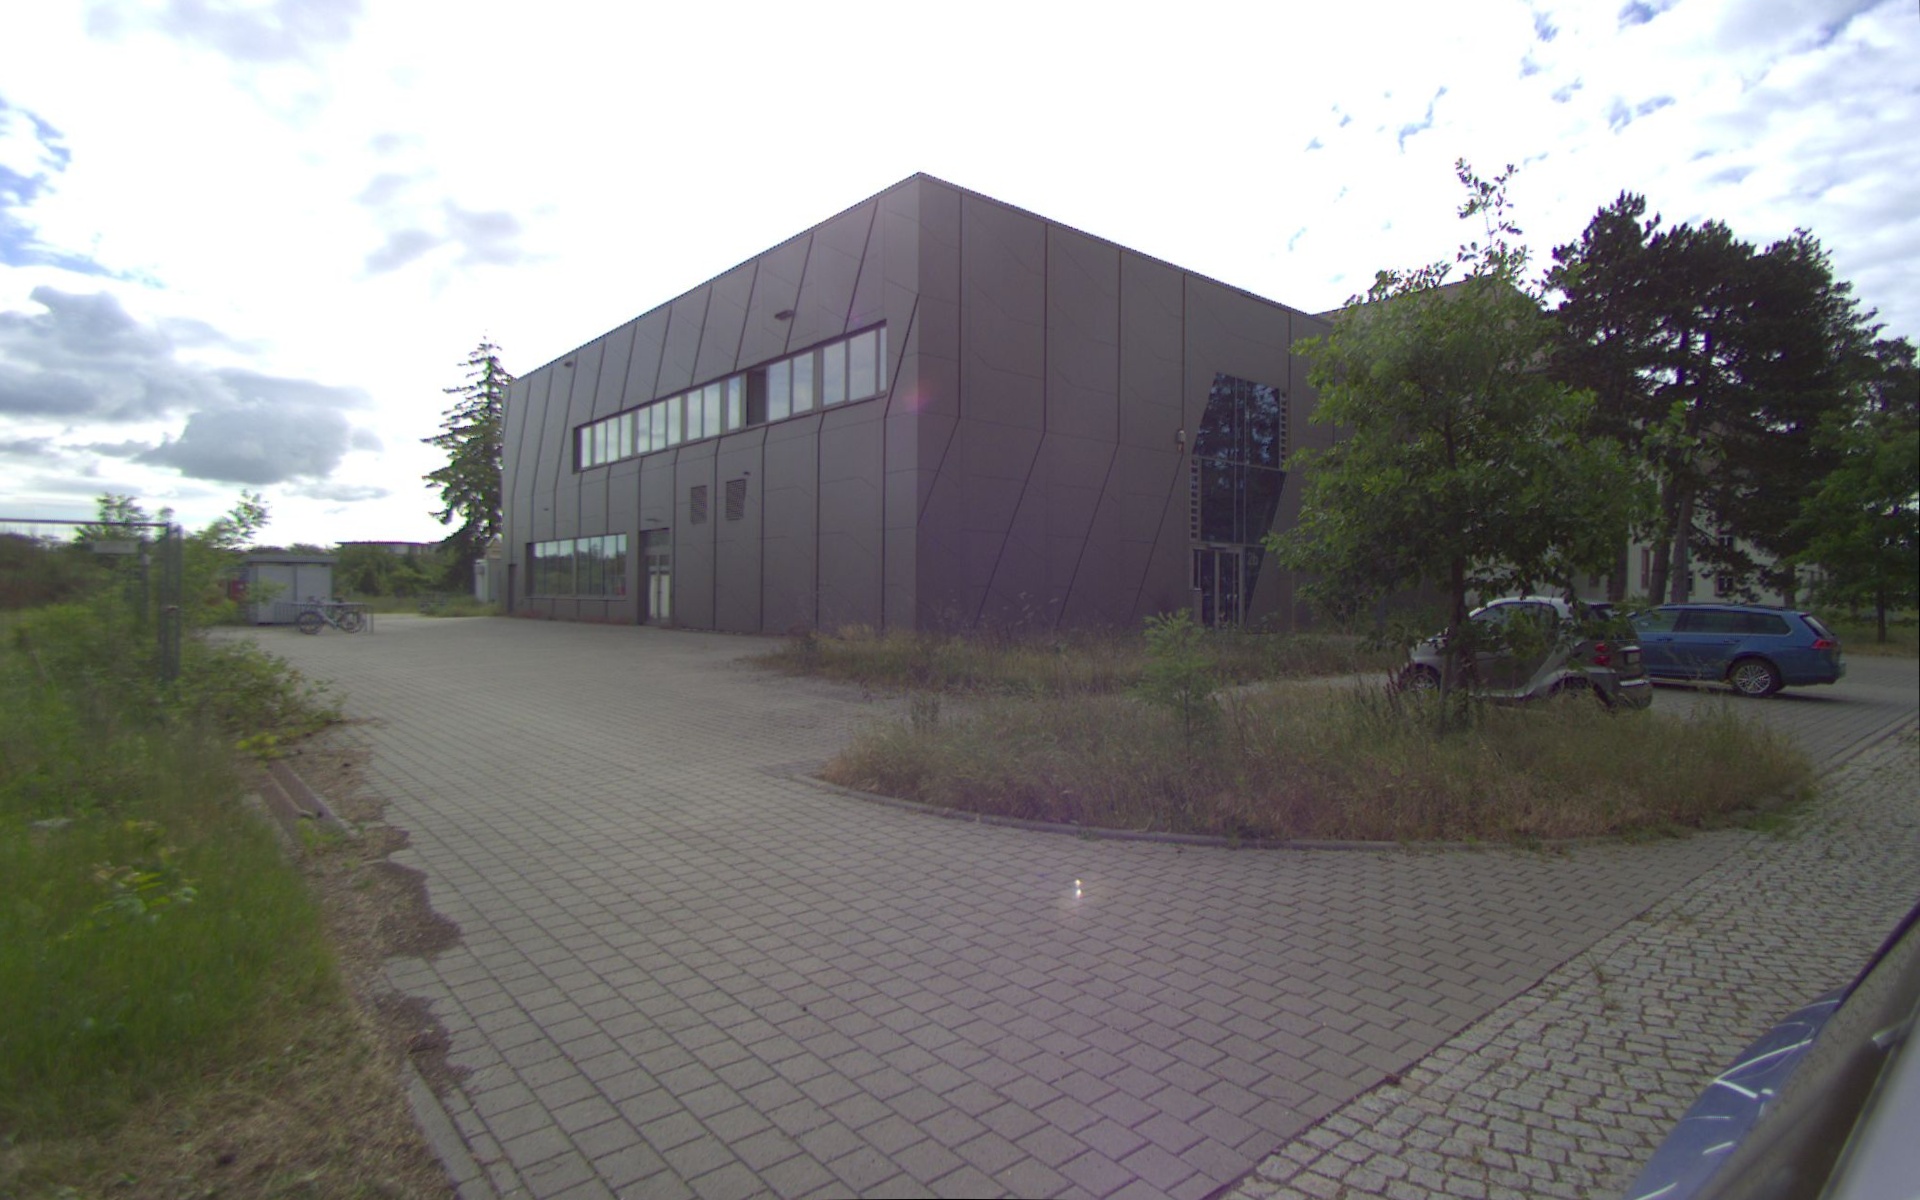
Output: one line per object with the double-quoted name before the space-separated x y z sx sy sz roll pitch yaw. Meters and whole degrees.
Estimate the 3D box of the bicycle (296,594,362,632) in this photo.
"bicycle" -18.648 0.371 29.941 1.624 1.099 0.512 0 0 -32

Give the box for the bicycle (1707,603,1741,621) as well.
"bicycle" 48.298 0.732 63.988 0.603 1.099 1.655 1 0 -38

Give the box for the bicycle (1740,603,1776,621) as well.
"bicycle" 49.500 0.744 62.785 0.604 1.099 1.653 1 0 -44

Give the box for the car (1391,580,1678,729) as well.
"car" 7.213 0.590 12.848 1.623 1.575 2.717 1 2 -38

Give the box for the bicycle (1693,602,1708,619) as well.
"bicycle" 48.492 0.685 66.248 1.628 1.142 0.476 0 0 -42

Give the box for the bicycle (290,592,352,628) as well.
"bicycle" -20.033 0.311 31.743 1.624 1.099 0.512 0 0 -32

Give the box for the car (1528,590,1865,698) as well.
"car" 12.715 0.650 17.707 1.800 1.493 4.497 0 2 -43
